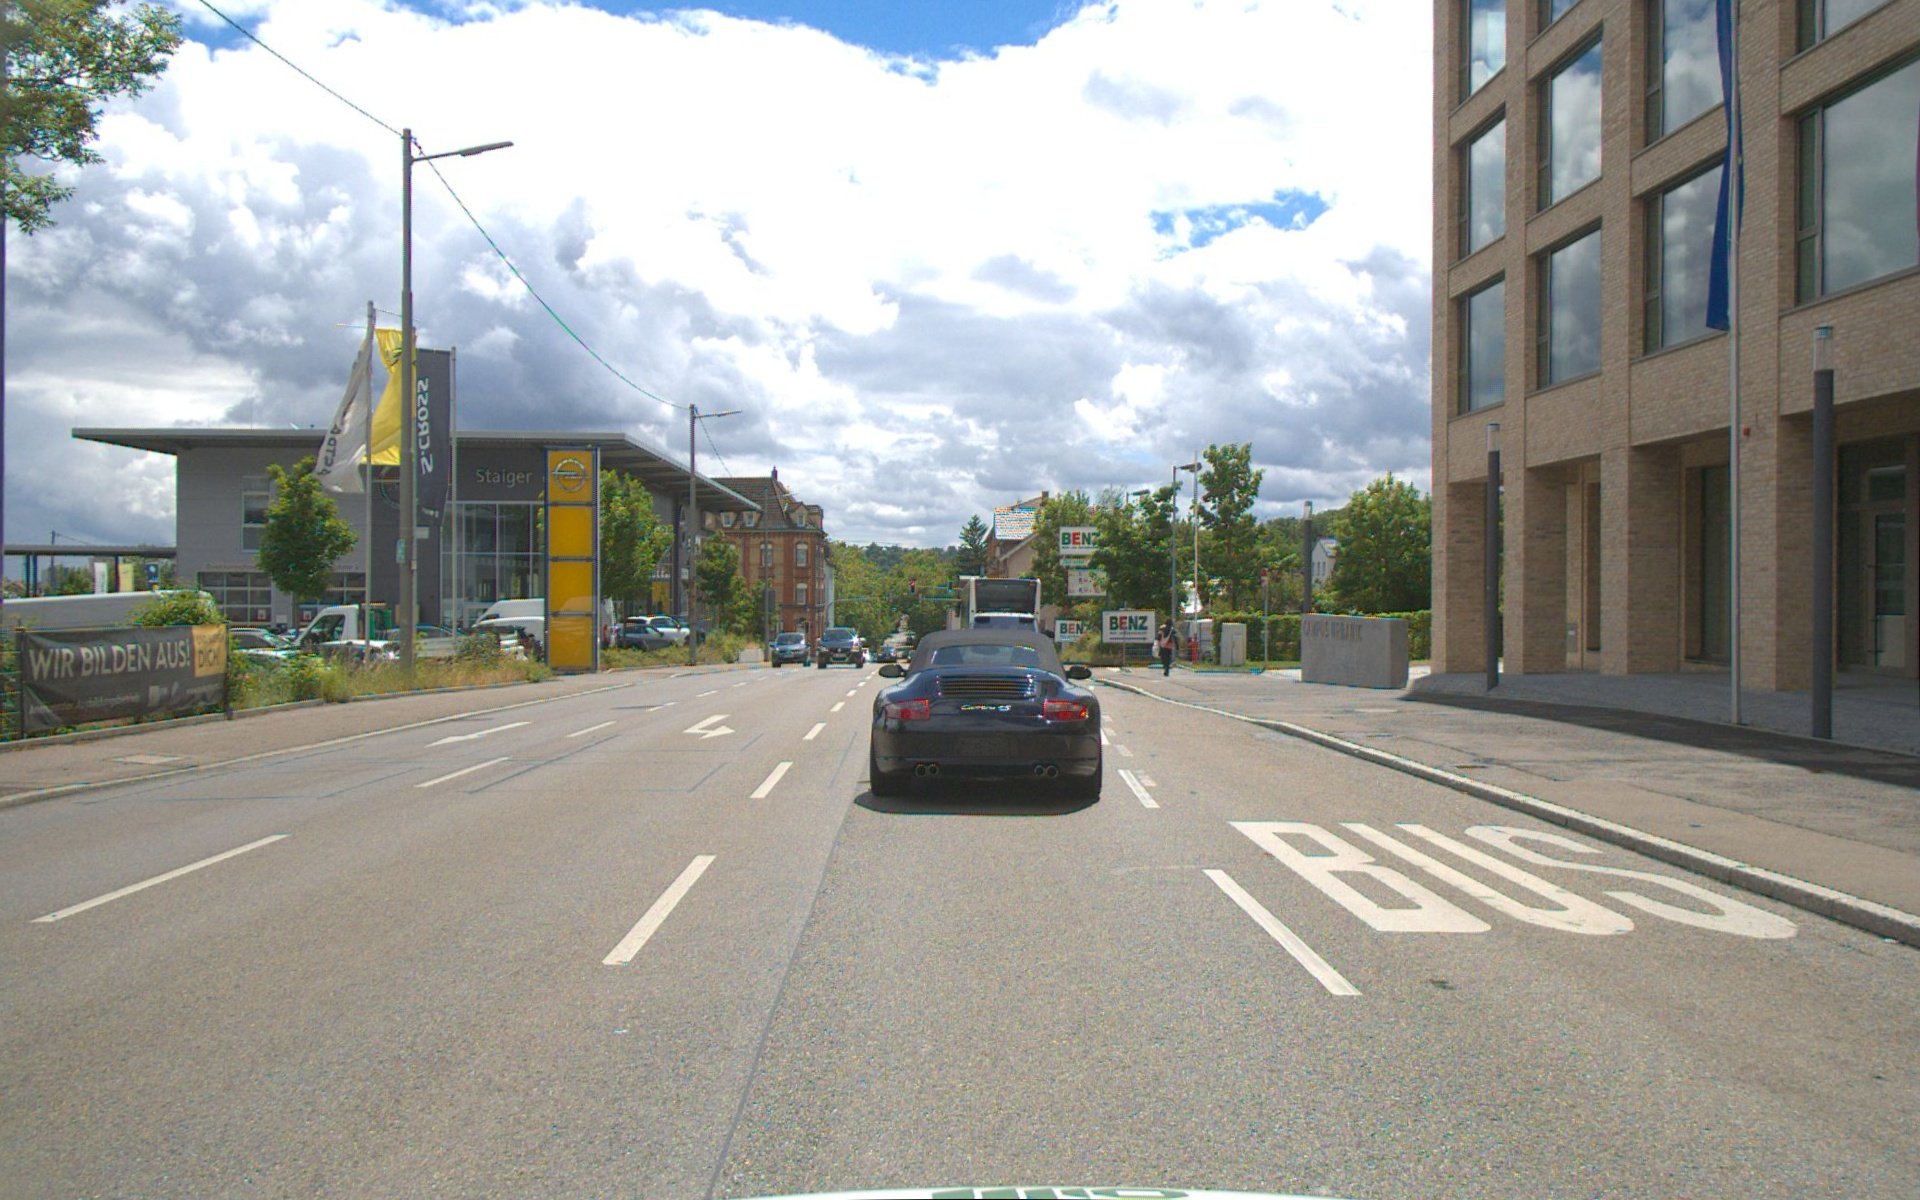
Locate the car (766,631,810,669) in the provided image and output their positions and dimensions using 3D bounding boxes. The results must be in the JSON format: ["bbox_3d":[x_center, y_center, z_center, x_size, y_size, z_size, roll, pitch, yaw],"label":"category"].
[{"bbox_3d":[-8.034,2.314,77.541,1.709,1.623,4.040,-3,-1,-2],"label":"car"}]

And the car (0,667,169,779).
[{"bbox_3d":[-13.016,1.615,22.087,3.952,1.411,1.927,0,-2,-3],"label":"car"}]

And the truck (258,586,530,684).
[{"bbox_3d":[-13.562,0.852,39.984,5.746,2.185,2.474,-1,-2,-4],"label":"truck"}]

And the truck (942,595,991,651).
[{"bbox_3d":[0.342,1.456,100.430,2.613,3.163,9.030,-1,-2,-2],"label":"truck"}]

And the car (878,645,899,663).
[{"bbox_3d":[-6.438,4.907,149.394,1.826,1.568,4.104,0,-2,-2],"label":"car"}]

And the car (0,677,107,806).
[{"bbox_3d":[-12.563,1.635,19.526,3.950,1.411,1.928,0,-2,0],"label":"car"}]

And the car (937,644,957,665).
[{"bbox_3d":[-1.272,5.207,158.777,1.796,1.915,3.997,-1,-1,-3],"label":"car"}]

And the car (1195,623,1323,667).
[{"bbox_3d":[11.065,1.685,61.472,4.343,1.508,1.999,-1,-2,-2],"label":"car"}]

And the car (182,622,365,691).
[{"bbox_3d":[-18.037,1.471,43.614,3.997,1.549,1.825,-3,0,-2],"label":"car"}]

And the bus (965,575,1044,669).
[{"bbox_3d":[1.590,0.730,63.399,2.744,3.254,12.196,0,0,0],"label":"bus"}]

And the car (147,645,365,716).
[{"bbox_3d":[-13.661,1.553,32.231,3.472,1.348,1.711,0,-2,2],"label":"car"}]

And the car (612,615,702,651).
[{"bbox_3d":[-13.662,1.519,74.912,1.891,1.600,4.552,-1,-2,22],"label":"car"}]

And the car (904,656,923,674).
[{"bbox_3d":[-4.414,6.112,156.620,1.826,1.695,4.257,0,-2,-2],"label":"car"}]

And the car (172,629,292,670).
[{"bbox_3d":[-26.624,1.807,60.568,3.625,1.422,1.845,0,0,-7],"label":"car"}]

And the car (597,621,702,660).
[{"bbox_3d":[-13.124,1.702,70.247,1.858,1.476,4.828,0,0,26],"label":"car"}]

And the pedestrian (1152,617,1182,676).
[{"bbox_3d":[5.577,1.243,44.537,0.673,1.563,0.856,0,-1,-2],"label":"pedestrian"}]

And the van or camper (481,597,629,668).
[{"bbox_3d":[-14.888,1.181,61.049,4.925,2.575,2.317,0,0,-2],"label":"van or camper"}]

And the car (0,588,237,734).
[{"bbox_3d":[-13.156,0.844,24.343,4.078,2.049,2.197,0,0,-4],"label":"car"}]

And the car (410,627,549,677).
[{"bbox_3d":[-15.564,1.666,53.674,3.904,1.517,2.000,0,0,1],"label":"car"}]

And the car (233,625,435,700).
[{"bbox_3d":[-14.060,1.411,37.345,3.806,1.638,1.928,0,-2,-2],"label":"car"}]

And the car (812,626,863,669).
[{"bbox_3d":[-4.569,1.790,62.290,1.793,1.535,4.274,-1,-2,-3],"label":"car"}]

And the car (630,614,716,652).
[{"bbox_3d":[-13.819,1.570,79.904,1.954,1.728,4.482,0,0,24],"label":"car"}]

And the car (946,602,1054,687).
[{"bbox_3d":[0.749,0.861,33.923,1.892,1.611,4.205,0,0,-3],"label":"car"}]

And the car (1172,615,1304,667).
[{"bbox_3d":[10.789,1.593,64.297,4.620,1.881,2.084,-1,-2,-9],"label":"car"}]

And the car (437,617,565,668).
[{"bbox_3d":[-16.179,1.489,58.420,3.903,1.735,2.001,0,0,4],"label":"car"}]

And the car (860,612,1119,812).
[{"bbox_3d":[0.213,0.838,14.207,1.891,1.401,4.208,0,0,0],"label":"car"}]
